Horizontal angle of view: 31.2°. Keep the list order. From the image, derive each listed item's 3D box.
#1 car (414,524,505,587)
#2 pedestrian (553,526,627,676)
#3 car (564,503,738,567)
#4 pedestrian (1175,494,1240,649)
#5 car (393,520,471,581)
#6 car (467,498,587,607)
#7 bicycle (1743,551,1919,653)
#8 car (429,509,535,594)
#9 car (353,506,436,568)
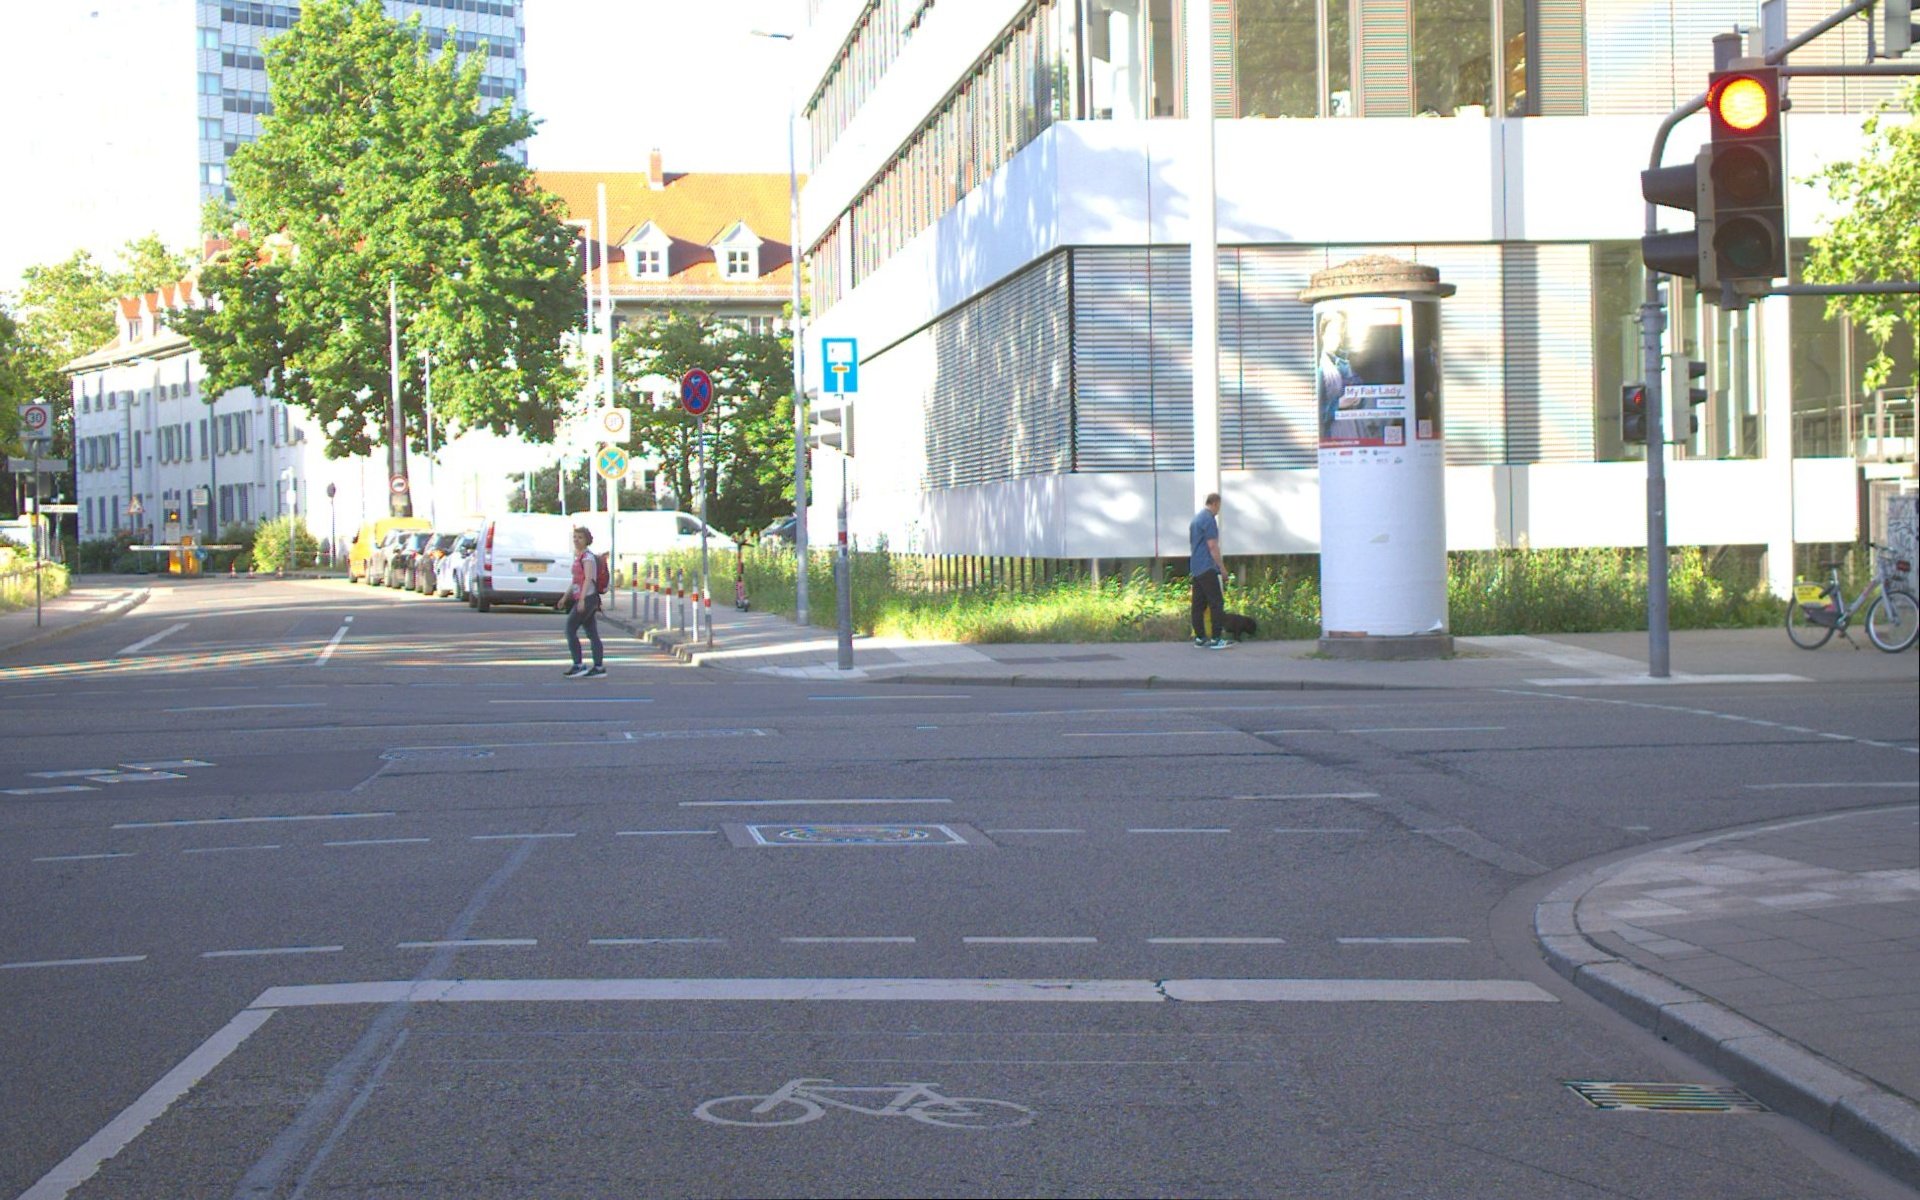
[{"bbox_3d":[-11.820,-1.068,81.015,1.703,1.419,4.239,-1,1,-14],"label":"car"},{"bbox_3d":[-3.977,0.006,36.989,0.712,1.594,0.617,-1,1,-1],"label":"pedestrian"},{"bbox_3d":[-9.238,-1.941,102.862,4.880,1.865,2.001,0,0,-17],"label":"car"},{"bbox_3d":[2.798,-0.331,38.922,0.652,1.730,0.812,-1,1,0],"label":"pedestrian"},{"bbox_3d":[-13.199,-1.246,85.846,1.703,1.459,4.239,-1,1,-11],"label":"car"},{"bbox_3d":[-8.176,-0.910,64.651,2.066,1.956,4.239,-1,1,-9],"label":"car"},{"bbox_3d":[9.175,0.013,36.129,0.463,1.045,1.914,-2,2,-42],"label":"bicycle"},{"bbox_3d":[-10.642,-1.094,76.401,1.946,1.789,4.239,-1,1,-13],"label":"car"},{"bbox_3d":[-15.753,-1.749,95.661,2.100,1.652,4.477,-1,1,-11],"label":"car"}]
